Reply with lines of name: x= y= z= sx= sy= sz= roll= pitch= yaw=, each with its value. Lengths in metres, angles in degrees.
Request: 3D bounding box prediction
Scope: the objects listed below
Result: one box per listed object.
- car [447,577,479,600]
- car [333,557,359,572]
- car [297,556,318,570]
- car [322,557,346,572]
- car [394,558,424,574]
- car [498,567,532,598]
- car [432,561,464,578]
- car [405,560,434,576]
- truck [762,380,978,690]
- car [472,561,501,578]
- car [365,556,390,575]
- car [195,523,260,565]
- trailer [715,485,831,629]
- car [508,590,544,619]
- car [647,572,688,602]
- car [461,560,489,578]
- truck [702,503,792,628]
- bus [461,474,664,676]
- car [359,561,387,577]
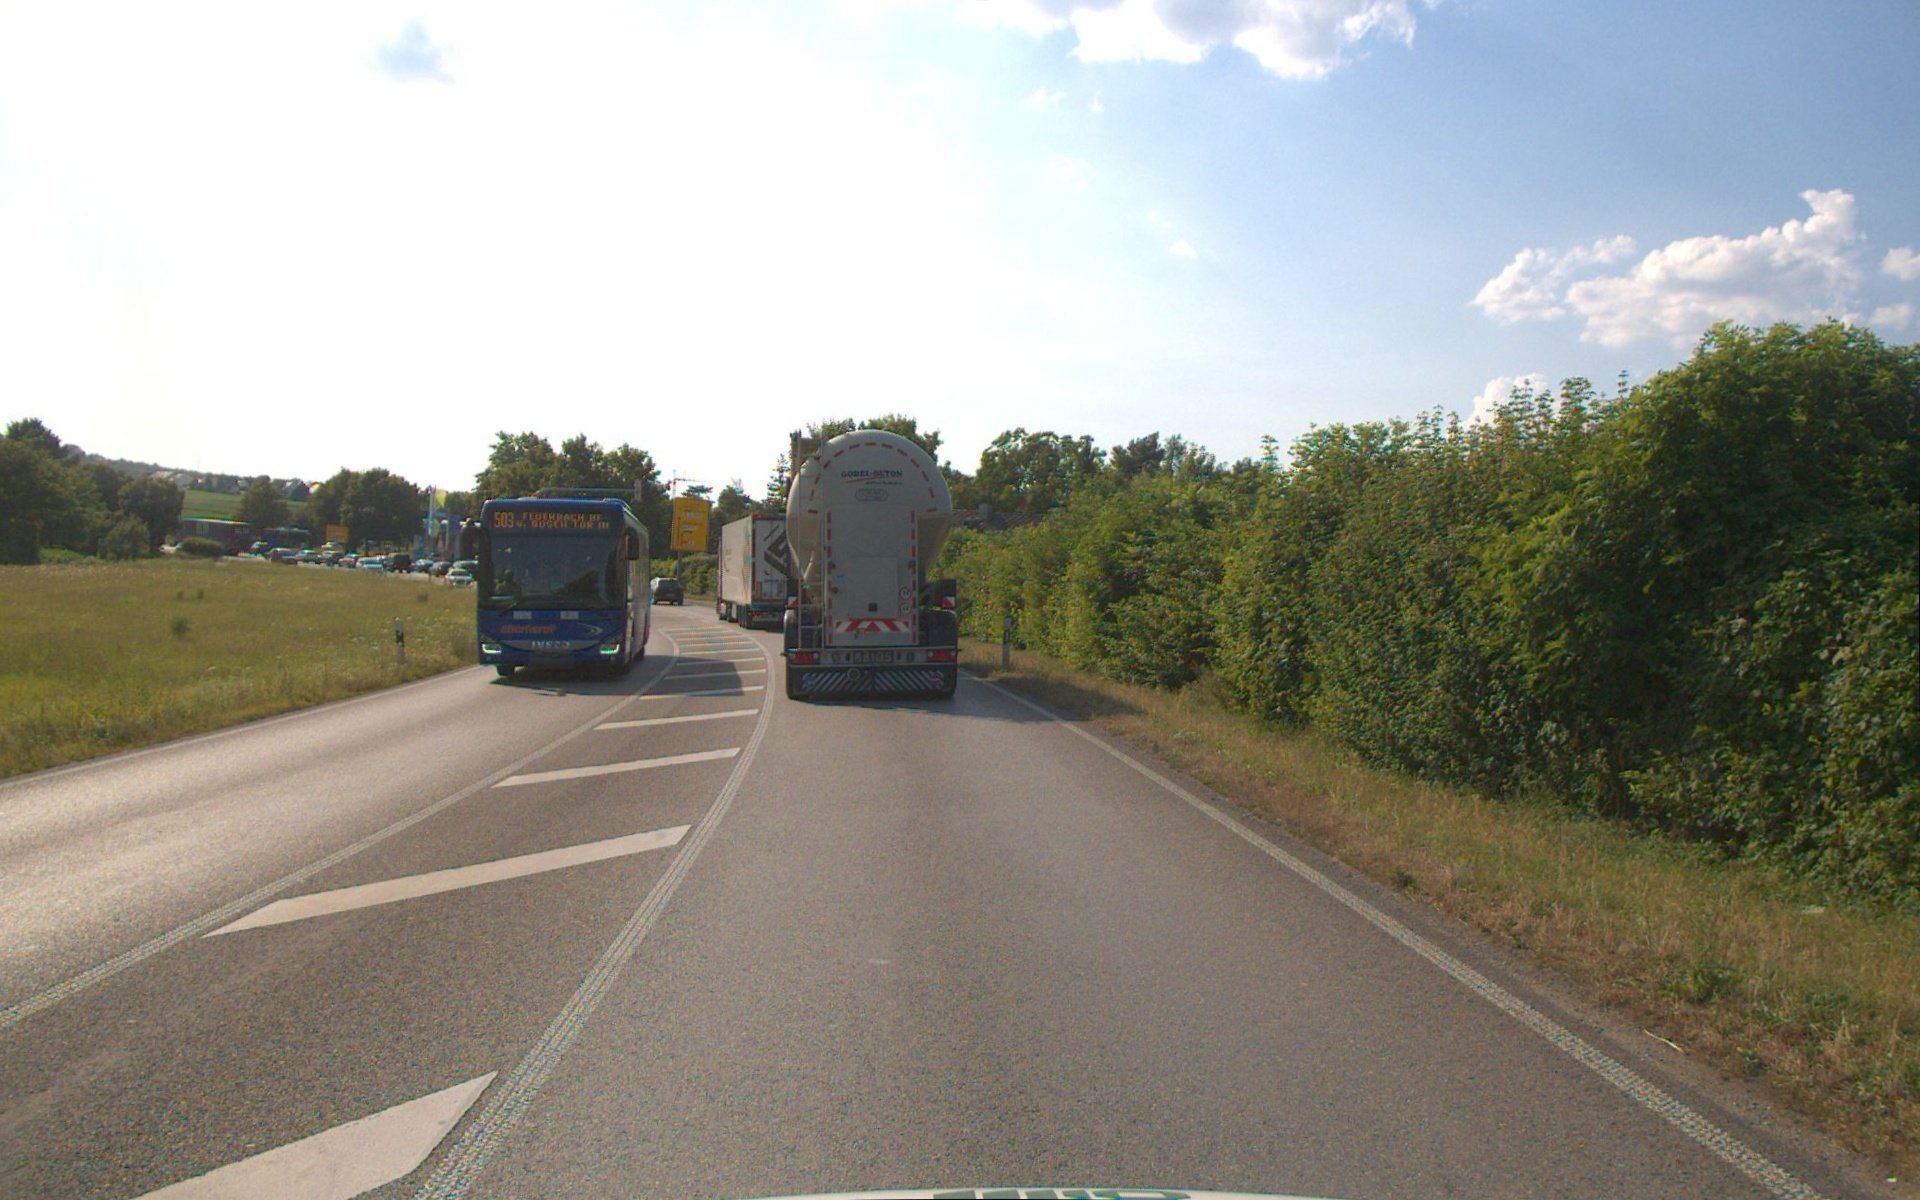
car: x=-38.210 y=-0.851 z=127.146 sx=1.818 sy=1.685 sz=3.968 roll=1 pitch=-1 yaw=-25
car: x=-68.551 y=-3.930 z=184.602 sx=1.865 sy=1.627 sz=3.954 roll=1 pitch=0 yaw=-34
car: x=-77.385 y=-4.388 z=196.120 sx=1.861 sy=1.627 sz=3.961 roll=1 pitch=0 yaw=-29
car: x=-71.848 y=-4.123 z=189.860 sx=1.864 sy=1.627 sz=3.957 roll=1 pitch=0 yaw=-32
car: x=-56.837 y=-3.508 z=170.560 sx=2.065 sy=1.627 sz=3.956 roll=1 pitch=0 yaw=-32
car: x=-24.025 y=-0.935 z=89.370 sx=1.666 sy=1.580 sz=4.137 roll=1 pitch=-1 yaw=-14
car: x=-50.123 y=-2.995 z=161.953 sx=2.065 sy=1.627 sz=3.957 roll=1 pitch=0 yaw=-32
car: x=-57.688 y=-3.437 z=176.538 sx=1.866 sy=1.627 sz=3.951 roll=1 pitch=0 yaw=-35
truck: x=-1.657 y=-0.828 z=28.773 sx=2.917 sy=4.248 sz=11.651 roll=1 pitch=-1 yaw=-4
car: x=-47.040 y=-3.060 z=164.252 sx=2.060 sy=1.627 sz=3.966 roll=1 pitch=0 yaw=-27
car: x=-56.087 y=-3.322 z=159.316 sx=1.818 sy=1.685 sz=3.967 roll=1 pitch=-1 yaw=-26
car: x=-94.524 y=-7.172 z=213.321 sx=3.524 sy=5.147 sz=13.036 roll=1 pitch=0 yaw=-43
trailer: x=-7.265 y=-1.445 z=62.876 sx=2.914 sy=4.967 sz=10.248 roll=1 pitch=-1 yaw=-14
car: x=-28.684 y=0.306 z=109.328 sx=1.958 sy=1.755 sz=4.415 roll=1 pitch=1 yaw=-11
car: x=-17.327 y=-0.767 z=97.997 sx=1.961 sy=1.685 sz=3.982 roll=1 pitch=-1 yaw=-16
car: x=-45.541 y=-2.901 z=155.143 sx=1.859 sy=1.627 sz=3.967 roll=1 pitch=0 yaw=-26
truck: x=-9.070 y=-1.366 z=69.943 sx=2.913 sy=4.972 sz=6.405 roll=1 pitch=-1 yaw=-15
bus: x=-7.539 y=-0.333 z=32.964 sx=2.742 sy=3.237 sz=12.103 roll=1 pitch=-1 yaw=-8
car: x=-63.556 y=-3.351 z=179.034 sx=2.066 sy=1.627 sz=3.955 roll=1 pitch=0 yaw=-33
